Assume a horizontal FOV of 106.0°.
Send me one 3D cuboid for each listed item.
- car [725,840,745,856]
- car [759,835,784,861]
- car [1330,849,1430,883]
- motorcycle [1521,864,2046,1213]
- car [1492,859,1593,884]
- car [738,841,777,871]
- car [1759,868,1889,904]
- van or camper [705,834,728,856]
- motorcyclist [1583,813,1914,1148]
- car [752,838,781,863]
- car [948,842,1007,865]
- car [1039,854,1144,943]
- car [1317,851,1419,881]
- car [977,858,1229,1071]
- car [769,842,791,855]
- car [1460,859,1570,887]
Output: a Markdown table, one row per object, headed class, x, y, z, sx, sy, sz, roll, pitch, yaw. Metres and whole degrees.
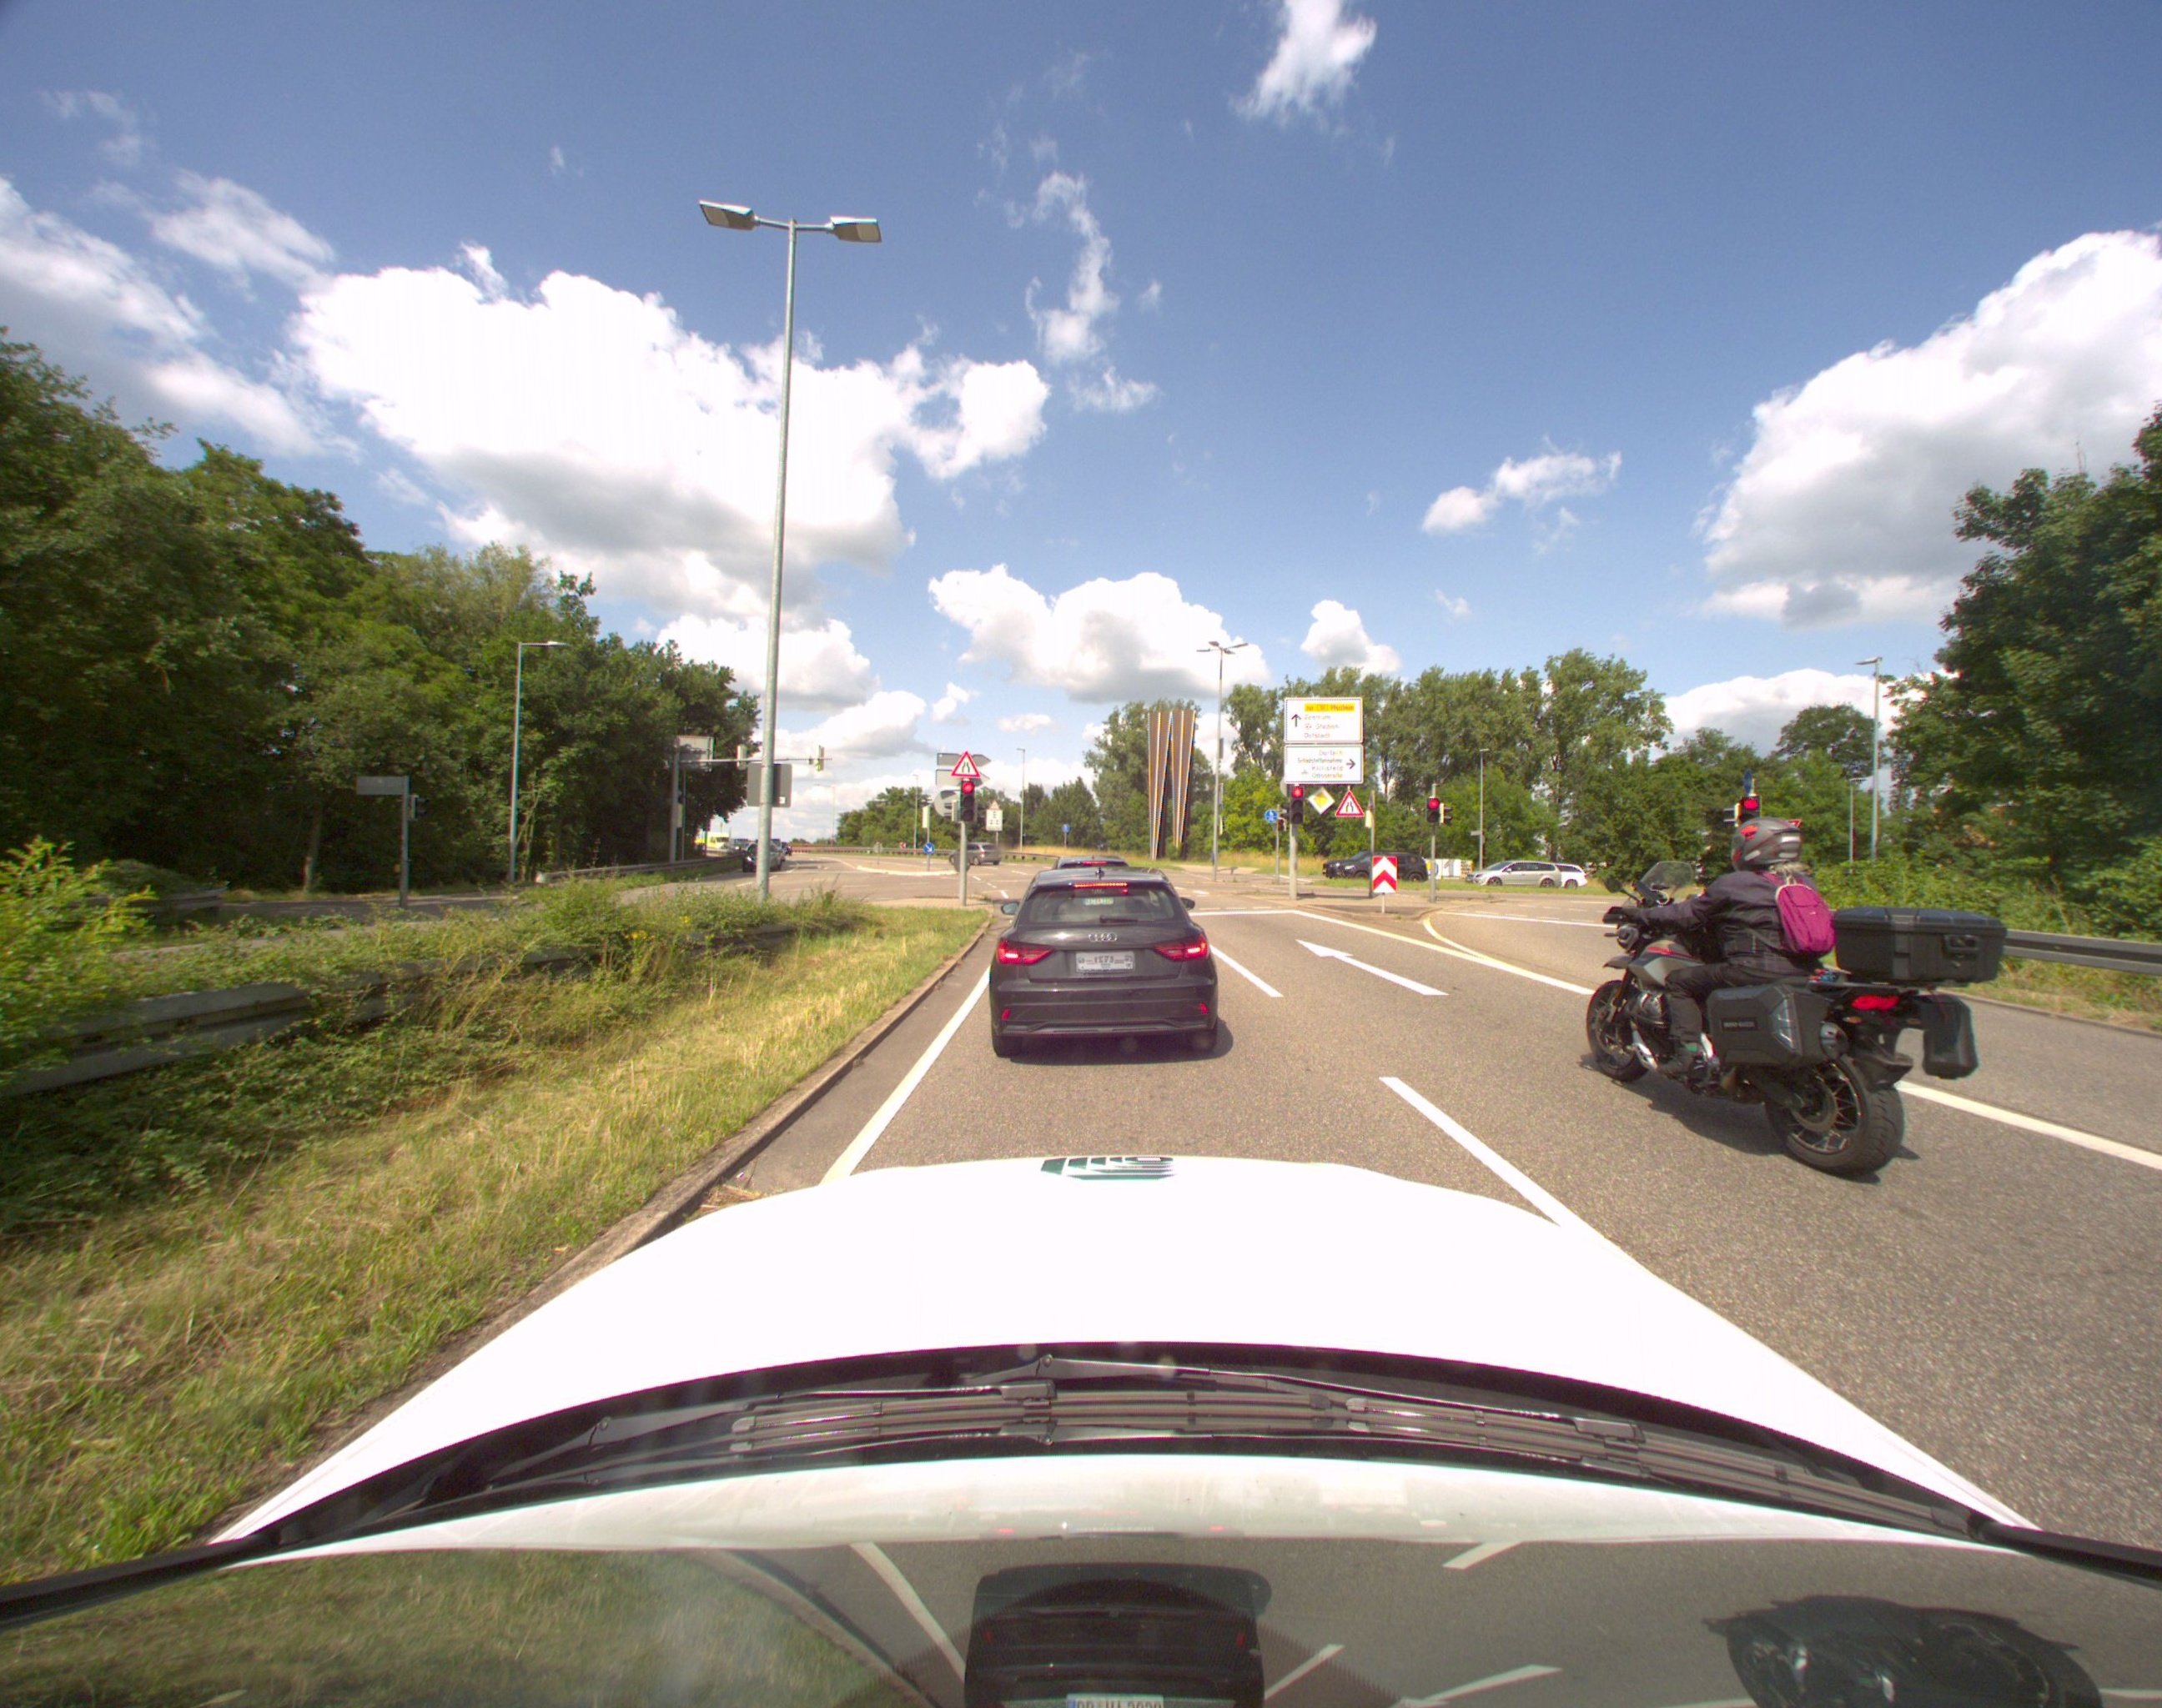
| class | x | y | z | sx | sy | sz | roll | pitch | yaw |
| --- | --- | --- | --- | --- | --- | --- | --- | --- | --- |
| car | -38.819 | -0.645 | 91.261 | 1.853 | 1.705 | 4.289 | 1 | 0 | -26 |
| car | -25.758 | -0.492 | 67.621 | 1.850 | 2.100 | 4.295 | 1 | 0 | -22 |
| car | 14.517 | 0.571 | 39.676 | 4.253 | 1.545 | 1.737 | 1 | 0 | 0 |
| motorcycle | 3.518 | 0.770 | 4.523 | 0.933 | 1.383 | 2.371 | 0 | 0 | 2 |
| car | 24.673 | 0.914 | 43.592 | 4.481 | 1.281 | 1.736 | 1 | 0 | -2 |
| car | -18.269 | 0.131 | 46.152 | 1.844 | 1.618 | 3.974 | 0 | -1 | -19 |
| car | 31.274 | 1.345 | 34.356 | 3.952 | 1.418 | 1.949 | 1 | 0 | -7 |
| van or camper | -46.541 | -1.083 | 103.795 | 2.006 | 2.683 | 6.798 | 0 | 0 | -30 |
| motorcyclist | 3.517 | 0.599 | 4.426 | 0.933 | 1.590 | 1.084 | 0 | 0 | 1 |
| car | -23.204 | -0.247 | 60.209 | 1.849 | 1.802 | 4.299 | 1 | 0 | -19 |
| car | -7.082 | -0.054 | 55.532 | 2.011 | 1.496 | 4.070 | 1 | 0 | -43 |
| car | 0.099 | 0.734 | 15.461 | 1.722 | 1.423 | 3.841 | -1 | 0 | -2 |
| car | 15.275 | 0.628 | 43.513 | 4.831 | 1.545 | 1.737 | 1 | 0 | 0 |
| car | 0.213 | 0.777 | 7.652 | 1.720 | 1.404 | 4.002 | -1 | 0 | 2 |
| car | -33.417 | -0.608 | 90.352 | 1.741 | 1.496 | 4.011 | 1 | 0 | -27 |
| car | 21.105 | 0.909 | 39.697 | 4.460 | 1.320 | 1.736 | 1 | 0 | -2 |
